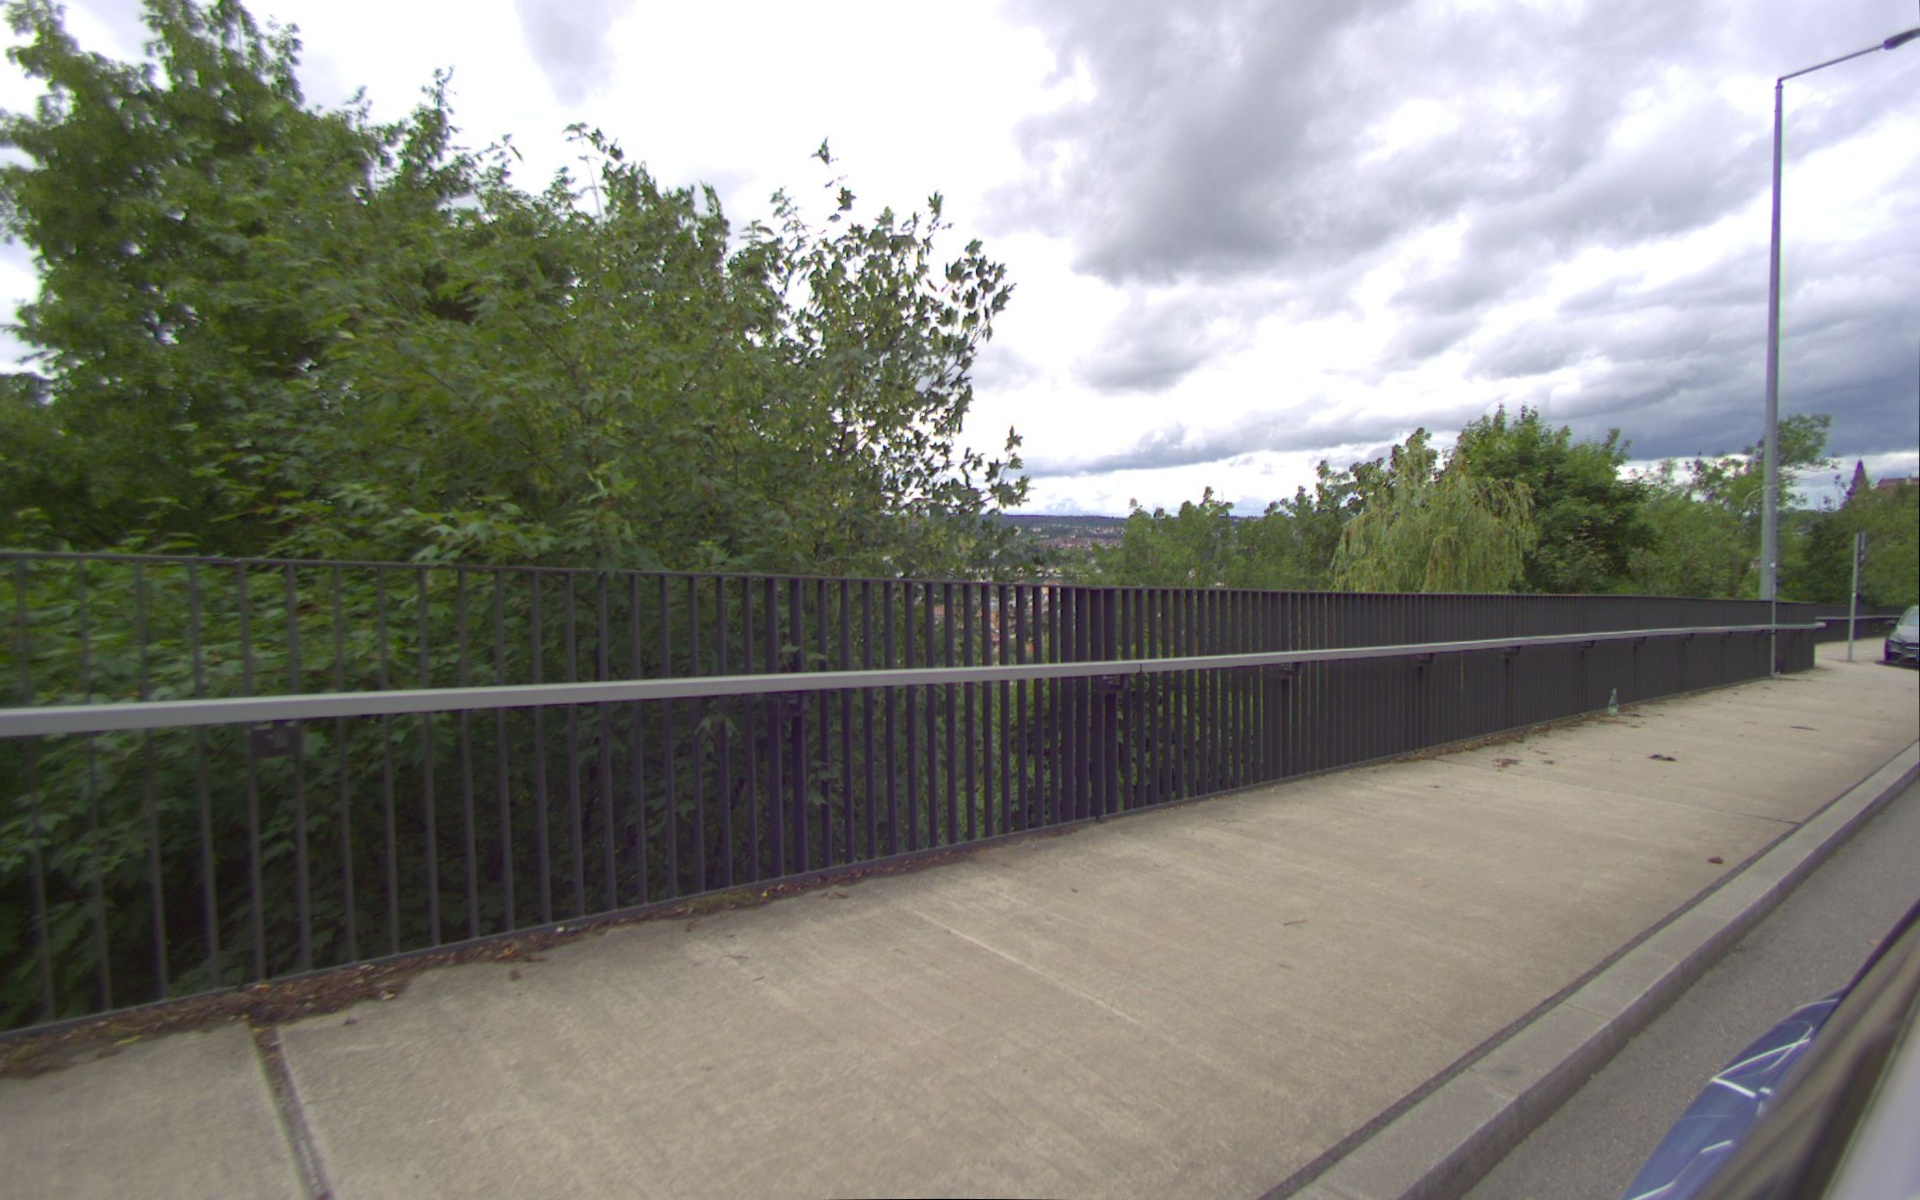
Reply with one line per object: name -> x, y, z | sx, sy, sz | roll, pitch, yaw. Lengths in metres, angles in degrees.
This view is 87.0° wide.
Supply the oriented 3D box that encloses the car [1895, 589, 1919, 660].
car -> 23.504, 0.602, 23.746 | 4.350, 1.562, 1.761 | 0, 4, -41
